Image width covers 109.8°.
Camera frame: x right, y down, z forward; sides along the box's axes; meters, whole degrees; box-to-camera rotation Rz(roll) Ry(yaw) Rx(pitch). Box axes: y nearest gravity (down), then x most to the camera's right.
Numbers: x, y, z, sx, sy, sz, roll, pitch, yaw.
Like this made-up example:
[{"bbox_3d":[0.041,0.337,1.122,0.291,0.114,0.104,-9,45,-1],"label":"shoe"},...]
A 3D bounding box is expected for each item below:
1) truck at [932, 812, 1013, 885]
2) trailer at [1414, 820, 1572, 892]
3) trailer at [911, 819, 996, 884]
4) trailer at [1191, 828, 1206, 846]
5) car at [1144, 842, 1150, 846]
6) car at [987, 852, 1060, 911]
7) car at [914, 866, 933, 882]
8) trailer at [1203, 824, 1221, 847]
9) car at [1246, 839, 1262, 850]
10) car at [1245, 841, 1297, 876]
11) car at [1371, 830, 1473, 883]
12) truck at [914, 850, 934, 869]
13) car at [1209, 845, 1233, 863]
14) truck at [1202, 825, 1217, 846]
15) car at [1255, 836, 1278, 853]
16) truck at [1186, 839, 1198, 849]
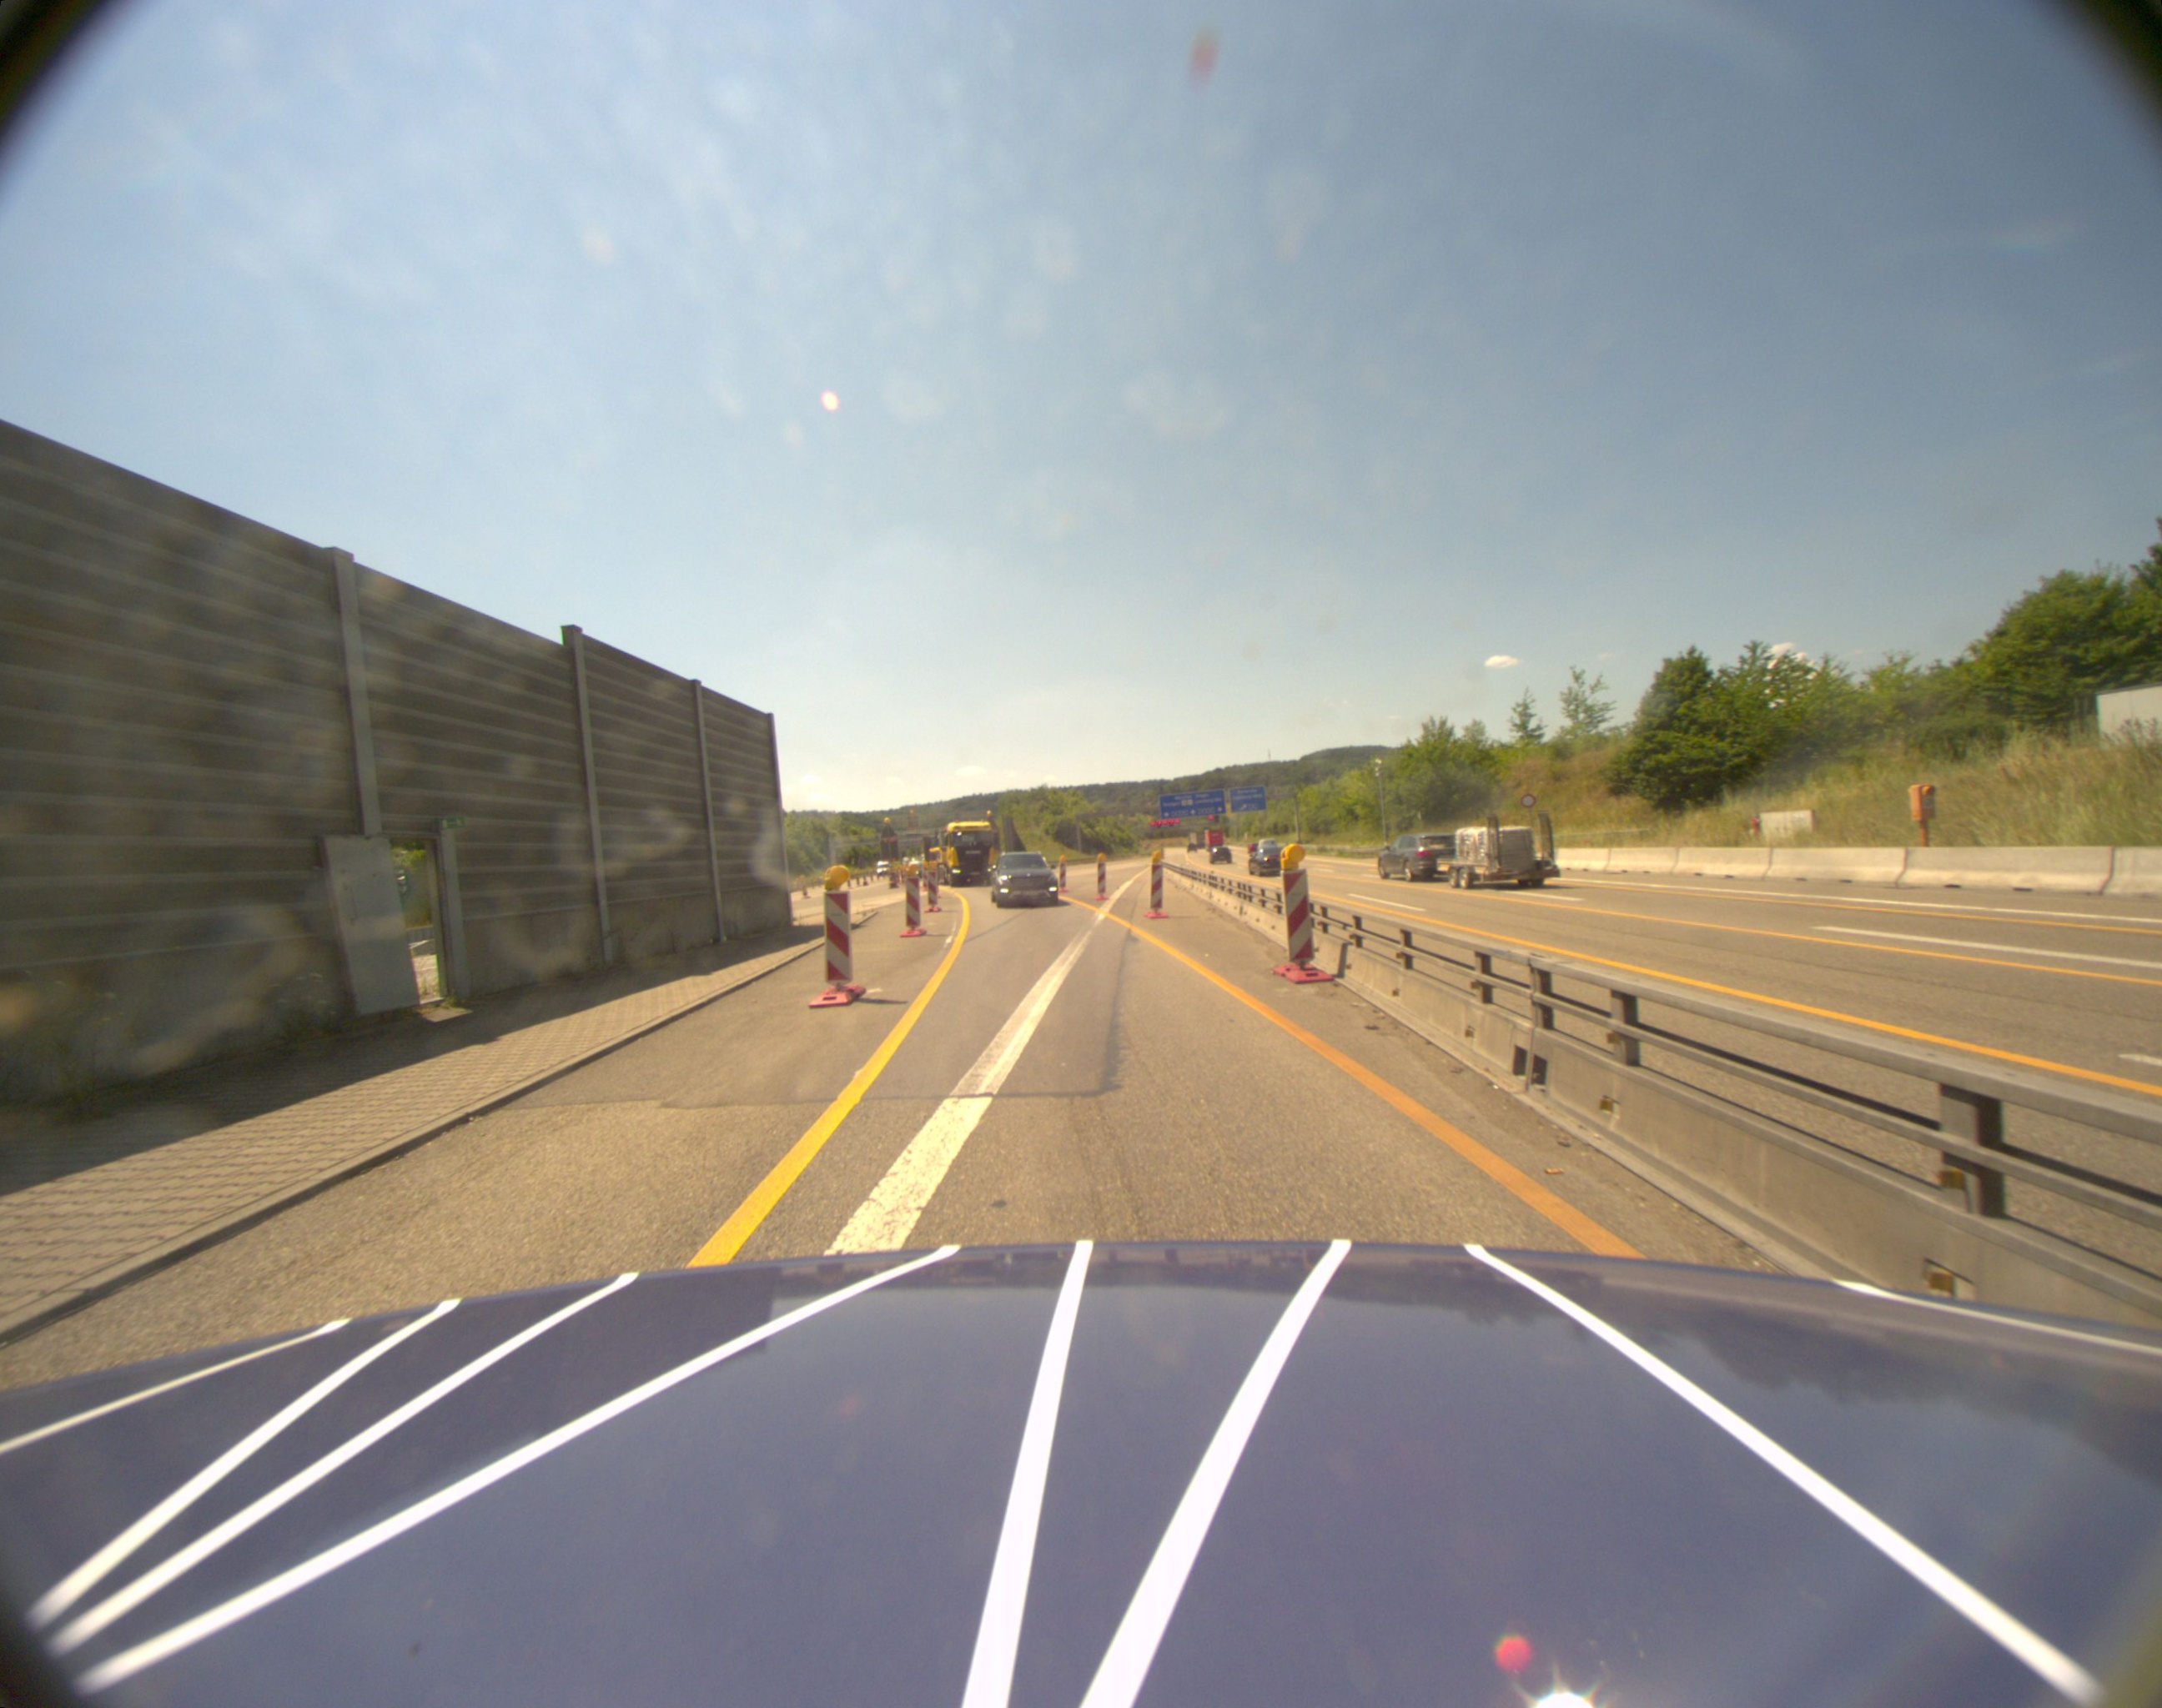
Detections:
[{"bbox_3d":[-6.561,-0.210,44.928,3.233,3.639,7.074,-7,0,-18],"label":"truck"},{"bbox_3d":[11.879,0.064,22.461,1.951,1.794,5.524,-2,0,4],"label":"trailer"},{"bbox_3d":[-9.623,0.083,54.614,3.240,3.646,17.399,-7,0,-18],"label":"trailer"},{"bbox_3d":[29.100,-4.168,188.333,2.441,4.272,13.812,-4,1,5],"label":"trailer"},{"bbox_3d":[22.713,-3.431,262.800,1.720,1.482,3.688,-4,1,3],"label":"car"},{"bbox_3d":[-1.996,0.833,25.163,1.821,1.685,4.489,-3,0,-11],"label":"car"},{"bbox_3d":[-15.586,1.978,75.116,1.477,1.439,4.355,-2,0,-16],"label":"car"},{"bbox_3d":[24.800,-3.517,144.666,2.342,4.078,13.265,-4,1,7],"label":"trailer"},{"bbox_3d":[23.606,-1.271,103.945,1.690,1.387,4.001,-2,1,7],"label":"car"},{"bbox_3d":[9.605,0.220,38.772,1.777,1.584,4.987,-2,0,5],"label":"car"},{"bbox_3d":[12.250,0.088,27.668,1.777,1.717,4.869,-2,0,4],"label":"car"},{"bbox_3d":[-33.908,1.216,164.816,3.239,3.646,17.408,-7,0,-10],"label":"truck"},{"bbox_3d":[12.834,-0.016,69.693,1.746,1.584,4.229,-2,0,6],"label":"car"},{"bbox_3d":[25.591,-3.668,151.388,2.339,4.084,5.019,-4,1,7],"label":"truck"},{"bbox_3d":[21.037,-1.070,86.478,1.691,1.824,4.788,-2,1,4],"label":"car"},{"bbox_3d":[21.738,-1.915,149.100,1.997,1.862,4.764,-4,0,7],"label":"truck"}]
